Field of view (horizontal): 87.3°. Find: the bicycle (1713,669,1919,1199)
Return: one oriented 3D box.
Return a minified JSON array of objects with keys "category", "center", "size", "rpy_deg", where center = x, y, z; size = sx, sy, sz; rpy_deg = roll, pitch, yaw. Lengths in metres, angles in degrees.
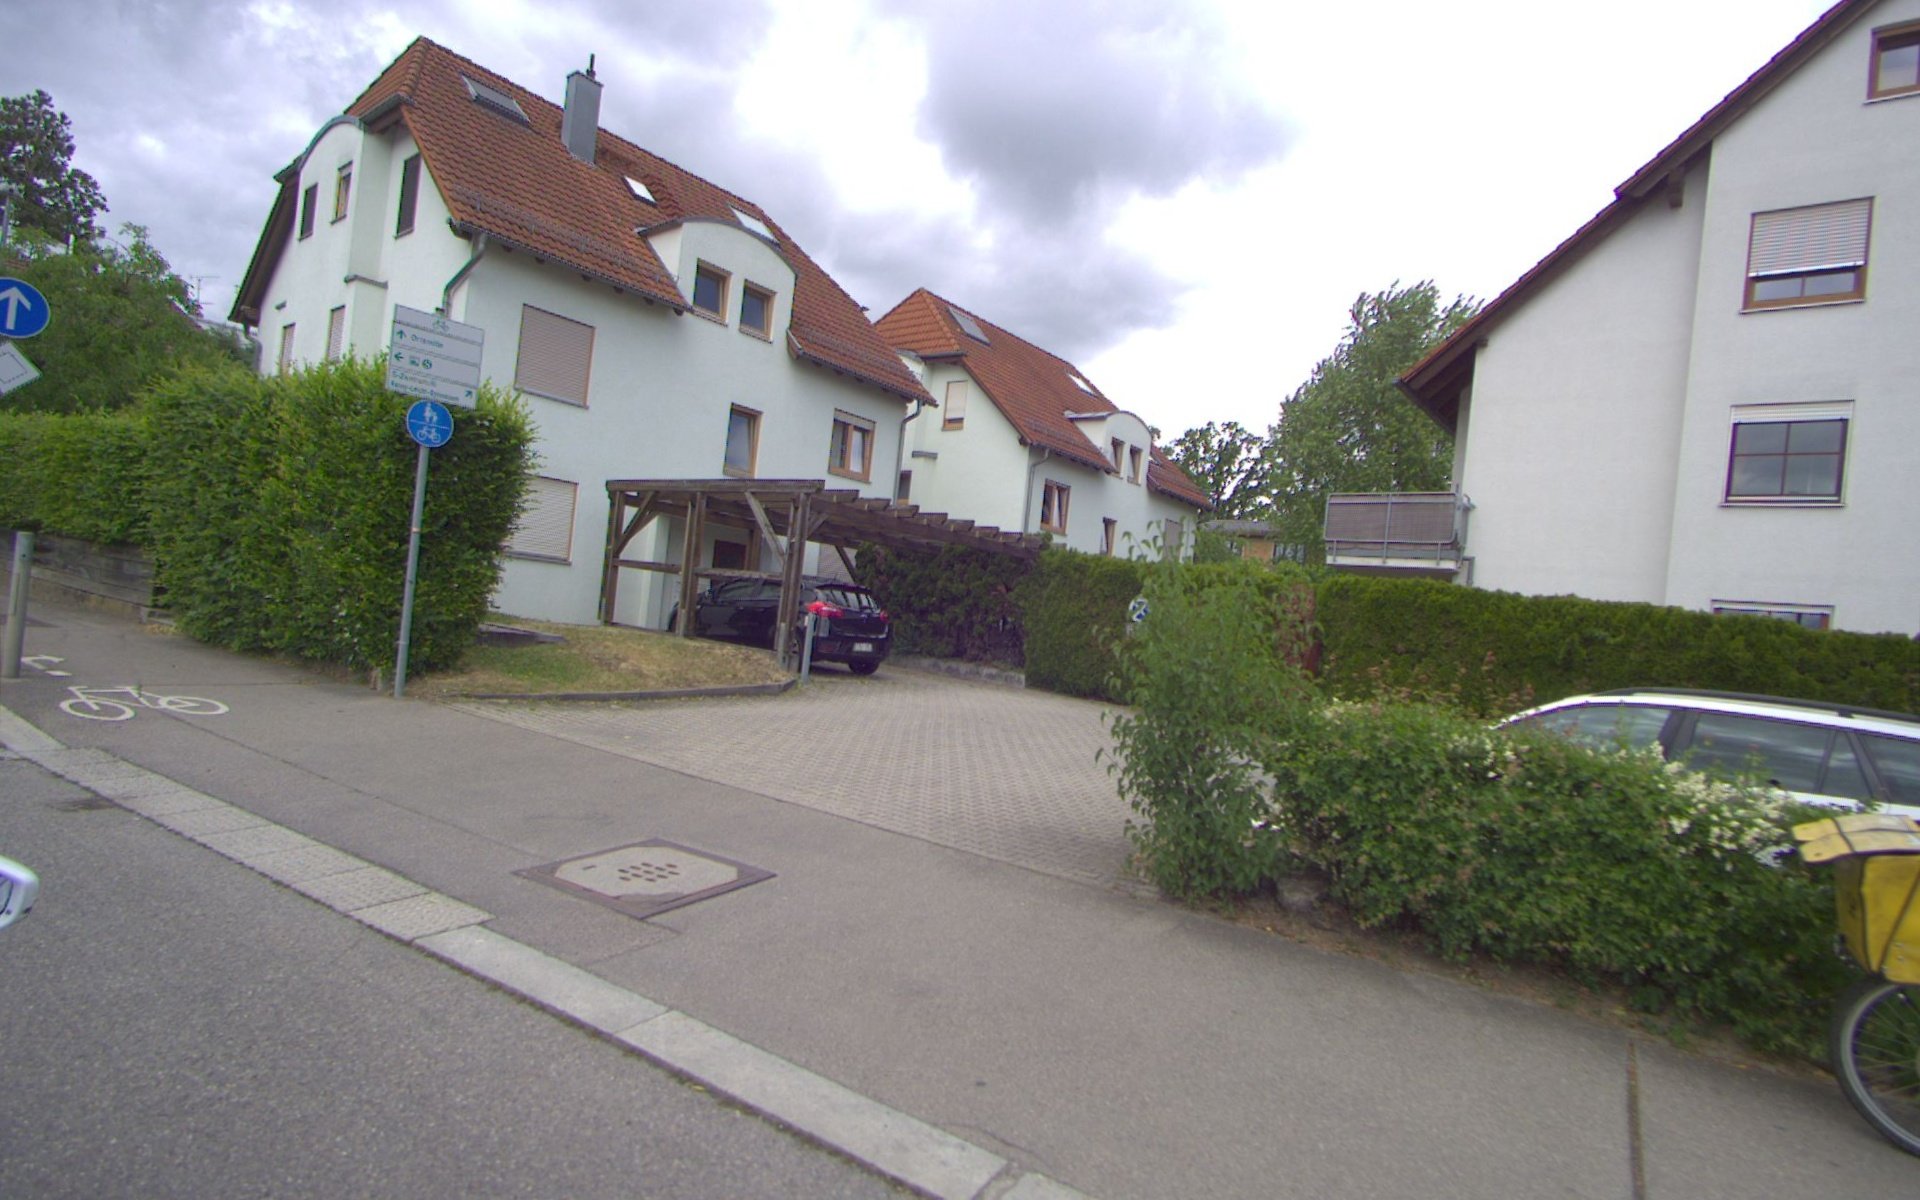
[{"category":"bicycle","center":[3.952,1.152,2.837],"size":[2.738,1.531,0.890],"rpy_deg":[7,4,34]}]

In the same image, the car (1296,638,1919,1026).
[{"category":"car","center":[4.483,1.308,6.370],"size":[4.003,1.522,1.668],"rpy_deg":[8,0,42]}]

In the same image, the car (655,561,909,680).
[{"category":"car","center":[-2.933,0.305,16.197],"size":[3.939,1.467,1.667],"rpy_deg":[6,0,36]}]
